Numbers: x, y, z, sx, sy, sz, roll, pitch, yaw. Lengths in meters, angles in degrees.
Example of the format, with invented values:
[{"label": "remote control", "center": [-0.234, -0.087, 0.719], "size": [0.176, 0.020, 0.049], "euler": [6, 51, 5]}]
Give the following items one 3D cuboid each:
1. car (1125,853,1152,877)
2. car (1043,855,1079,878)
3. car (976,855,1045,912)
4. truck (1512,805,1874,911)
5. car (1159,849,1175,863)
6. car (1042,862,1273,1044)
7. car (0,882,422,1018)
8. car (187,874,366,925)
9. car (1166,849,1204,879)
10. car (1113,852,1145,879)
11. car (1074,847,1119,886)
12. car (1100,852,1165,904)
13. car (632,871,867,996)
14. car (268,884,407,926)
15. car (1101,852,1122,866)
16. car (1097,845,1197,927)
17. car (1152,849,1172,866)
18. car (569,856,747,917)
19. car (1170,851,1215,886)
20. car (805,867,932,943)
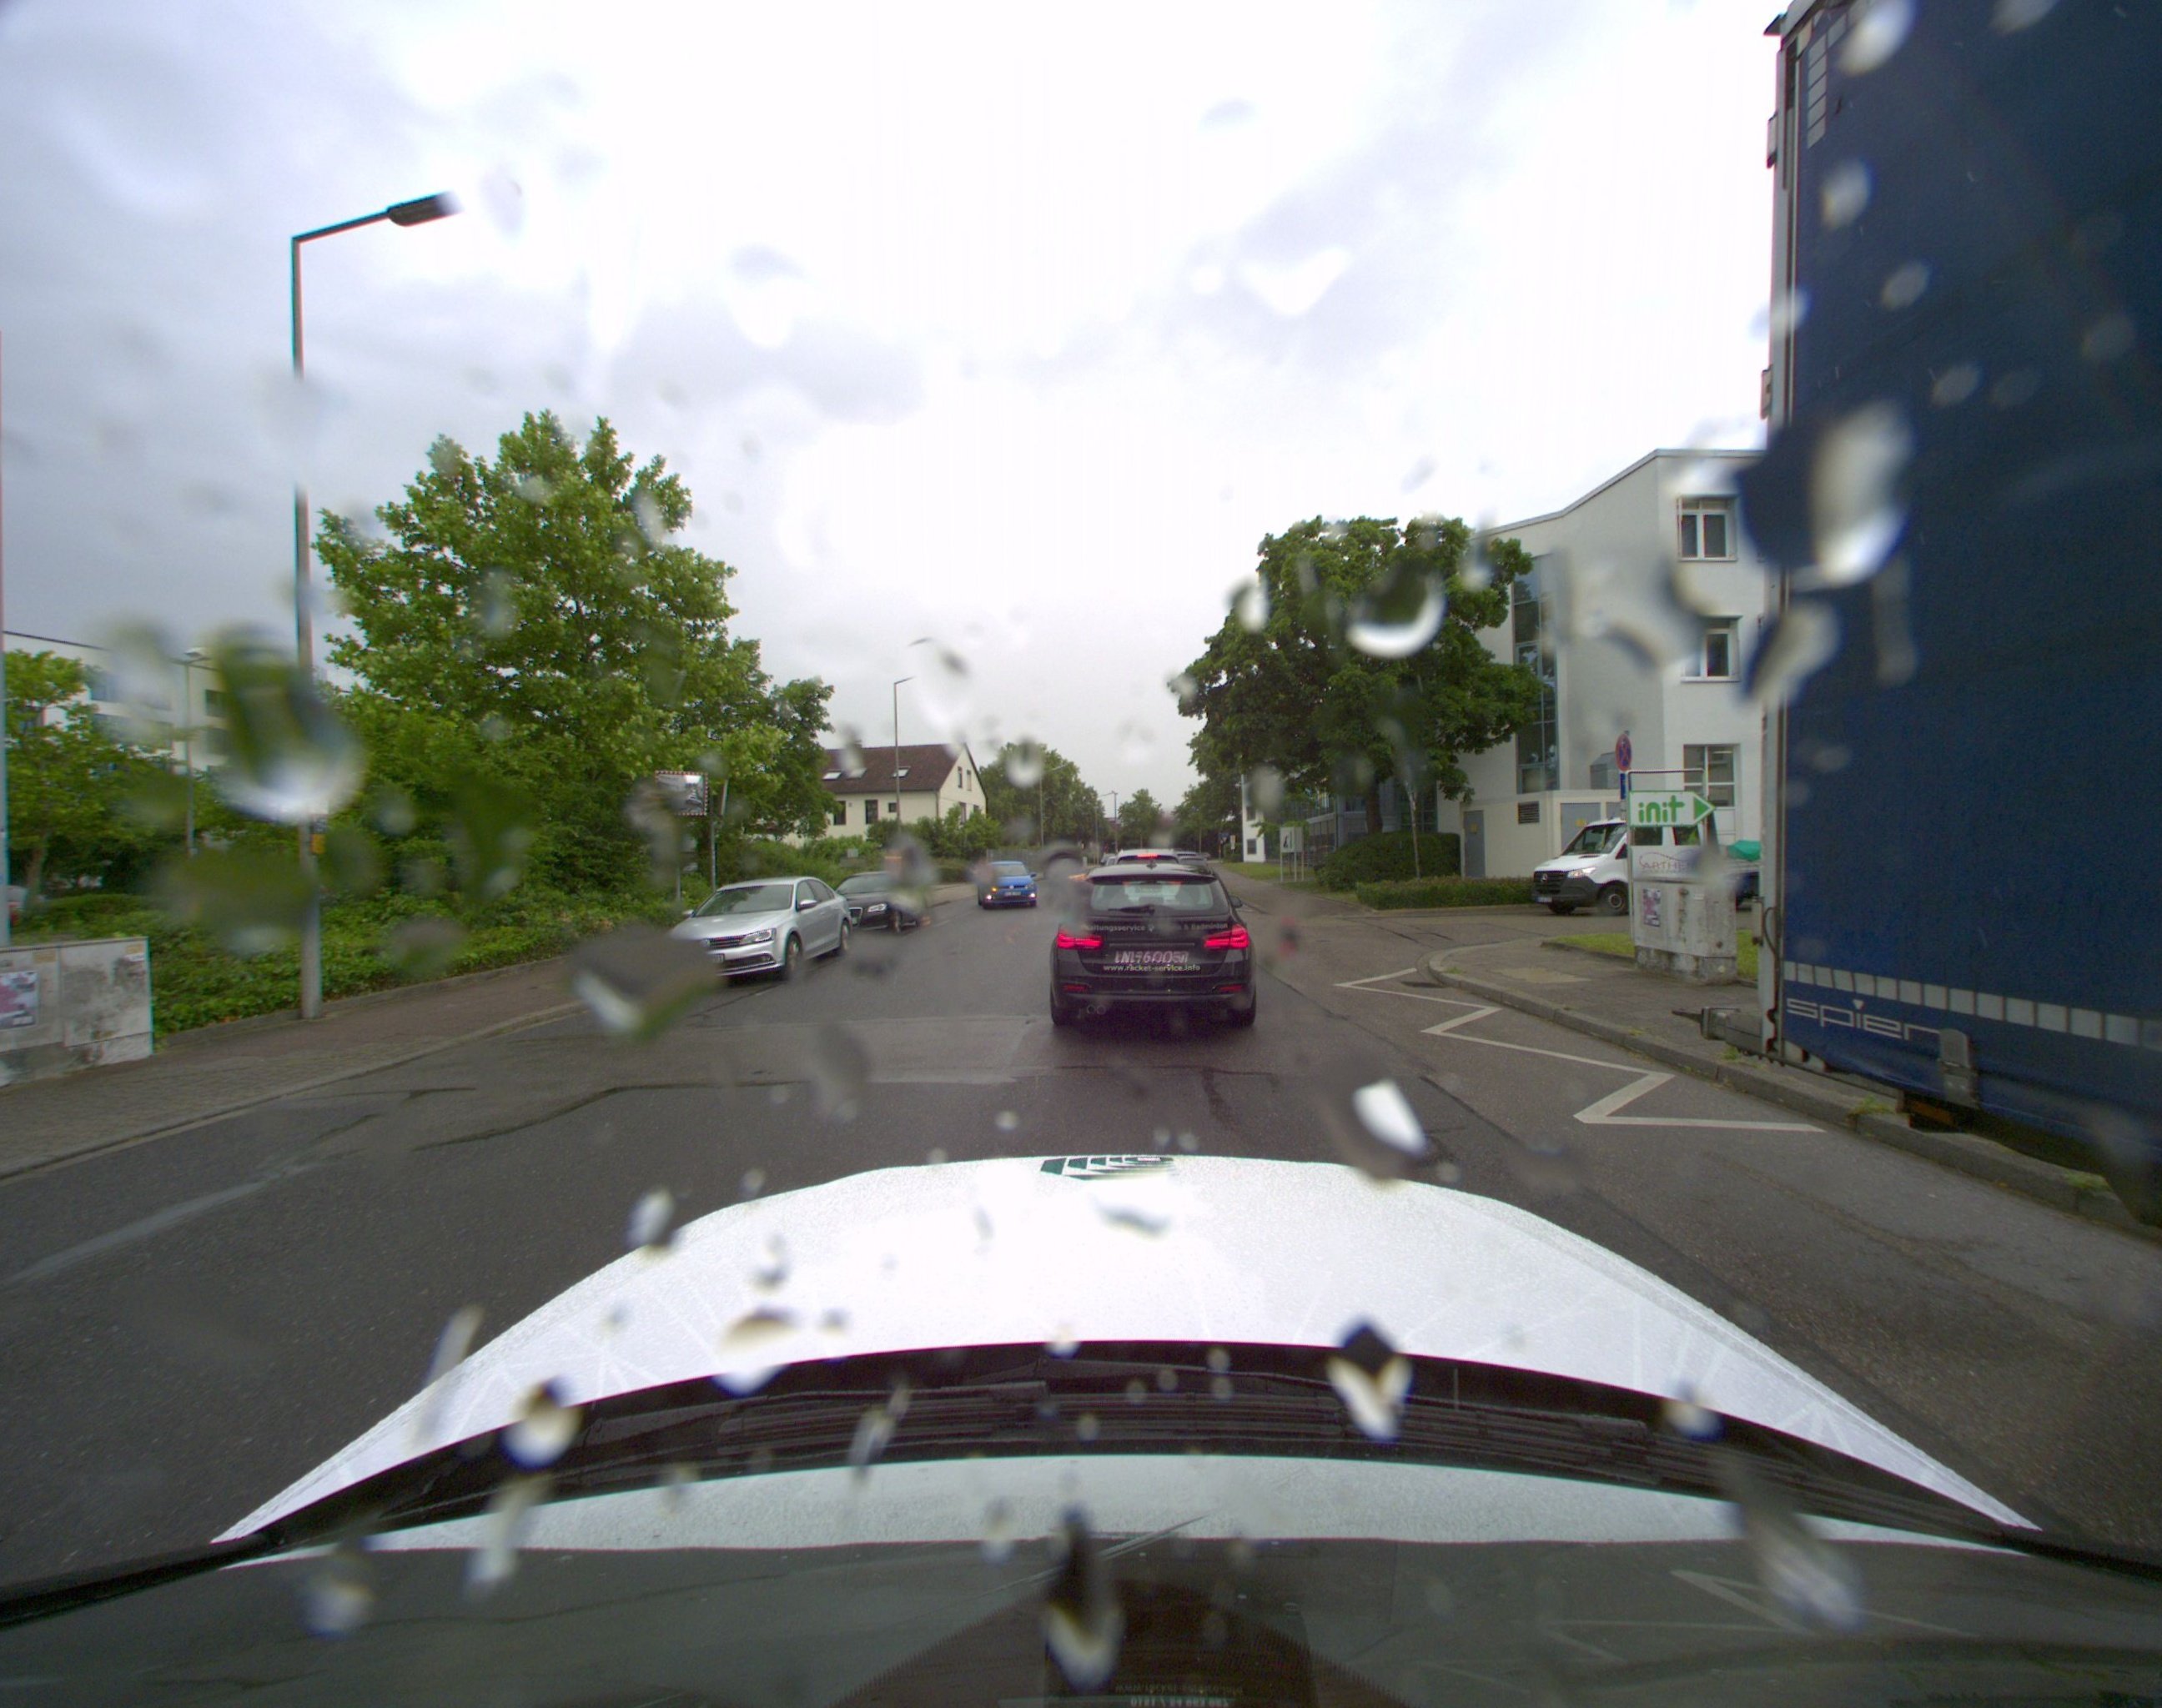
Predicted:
[{"label": "car", "center": [4.164, 0.780, 58.350], "size": [1.795, 1.586, 4.006], "euler": [-1, -1, 5]}, {"label": "car", "center": [-1.305, 0.841, 55.095], "size": [1.696, 1.367, 3.847], "euler": [-4, 0, 8]}, {"label": "car", "center": [-2.344, 0.888, 26.223], "size": [1.706, 1.594, 3.823], "euler": [-4, 0, -11]}, {"label": "truck", "center": [13.970, 0.091, 18.873], "size": [6.904, 2.140, 2.093], "euler": [-1, 0, -2]}, {"label": "car", "center": [10.371, 0.250, 98.062], "size": [1.795, 1.586, 4.006], "euler": [-1, 0, 5]}, {"label": "car", "center": [0.567, 0.790, 8.381], "size": [1.799, 1.395, 3.998], "euler": [-1, -1, -1]}, {"label": "car", "center": [-10.572, 1.099, 9.957], "size": [3.559, 1.460, 1.711], "euler": [0, 0, -1]}, {"label": "car", "center": [-27.100, 1.495, 27.549], "size": [3.975, 1.499, 1.999], "euler": [-2, 0, -1]}, {"label": "car", "center": [5.601, 0.535, 44.272], "size": [1.796, 1.586, 4.003], "euler": [-1, -1, 3]}, {"label": "car", "center": [3.072, 0.708, 51.418], "size": [1.795, 1.586, 4.006], "euler": [-1, -1, 5]}, {"label": "car", "center": [0.743, 0.522, 35.535], "size": [1.796, 1.586, 4.003], "euler": [-1, -1, 3]}, {"label": "car", "center": [1.674, 0.767, 27.492], "size": [1.800, 1.586, 3.997], "euler": [-1, -1, -2]}, {"label": "car", "center": [-4.801, 1.055, 12.613], "size": [1.700, 1.367, 4.600], "euler": [-4, 0, 0]}, {"label": "car", "center": [-31.371, 2.124, 34.455], "size": [3.975, 1.529, 1.999], "euler": [-2, 0, -1]}, {"label": "car", "center": [3.258, 0.537, 86.902], "size": [1.696, 1.367, 3.847], "euler": [-4, 0, 8]}, {"label": "car", "center": [1.340, 0.653, 18.051], "size": [1.799, 1.586, 3.998], "euler": [-1, -1, -1]}, {"label": "car", "center": [7.954, 0.284, 80.086], "size": [1.795, 1.586, 4.006], "euler": [-1, 0, 5]}, {"label": "car", "center": [-11.848, 0.880, 23.038], "size": [3.976, 1.540, 1.909], "euler": [-1, 0, -2]}, {"label": "car", "center": [5.307, 0.672, 39.165], "size": [1.796, 1.586, 4.003], "euler": [-1, -1, 3]}, {"label": "car", "center": [-4.648, 1.065, 18.397], "size": [1.699, 1.367, 3.839], "euler": [-4, 0, 1]}]
